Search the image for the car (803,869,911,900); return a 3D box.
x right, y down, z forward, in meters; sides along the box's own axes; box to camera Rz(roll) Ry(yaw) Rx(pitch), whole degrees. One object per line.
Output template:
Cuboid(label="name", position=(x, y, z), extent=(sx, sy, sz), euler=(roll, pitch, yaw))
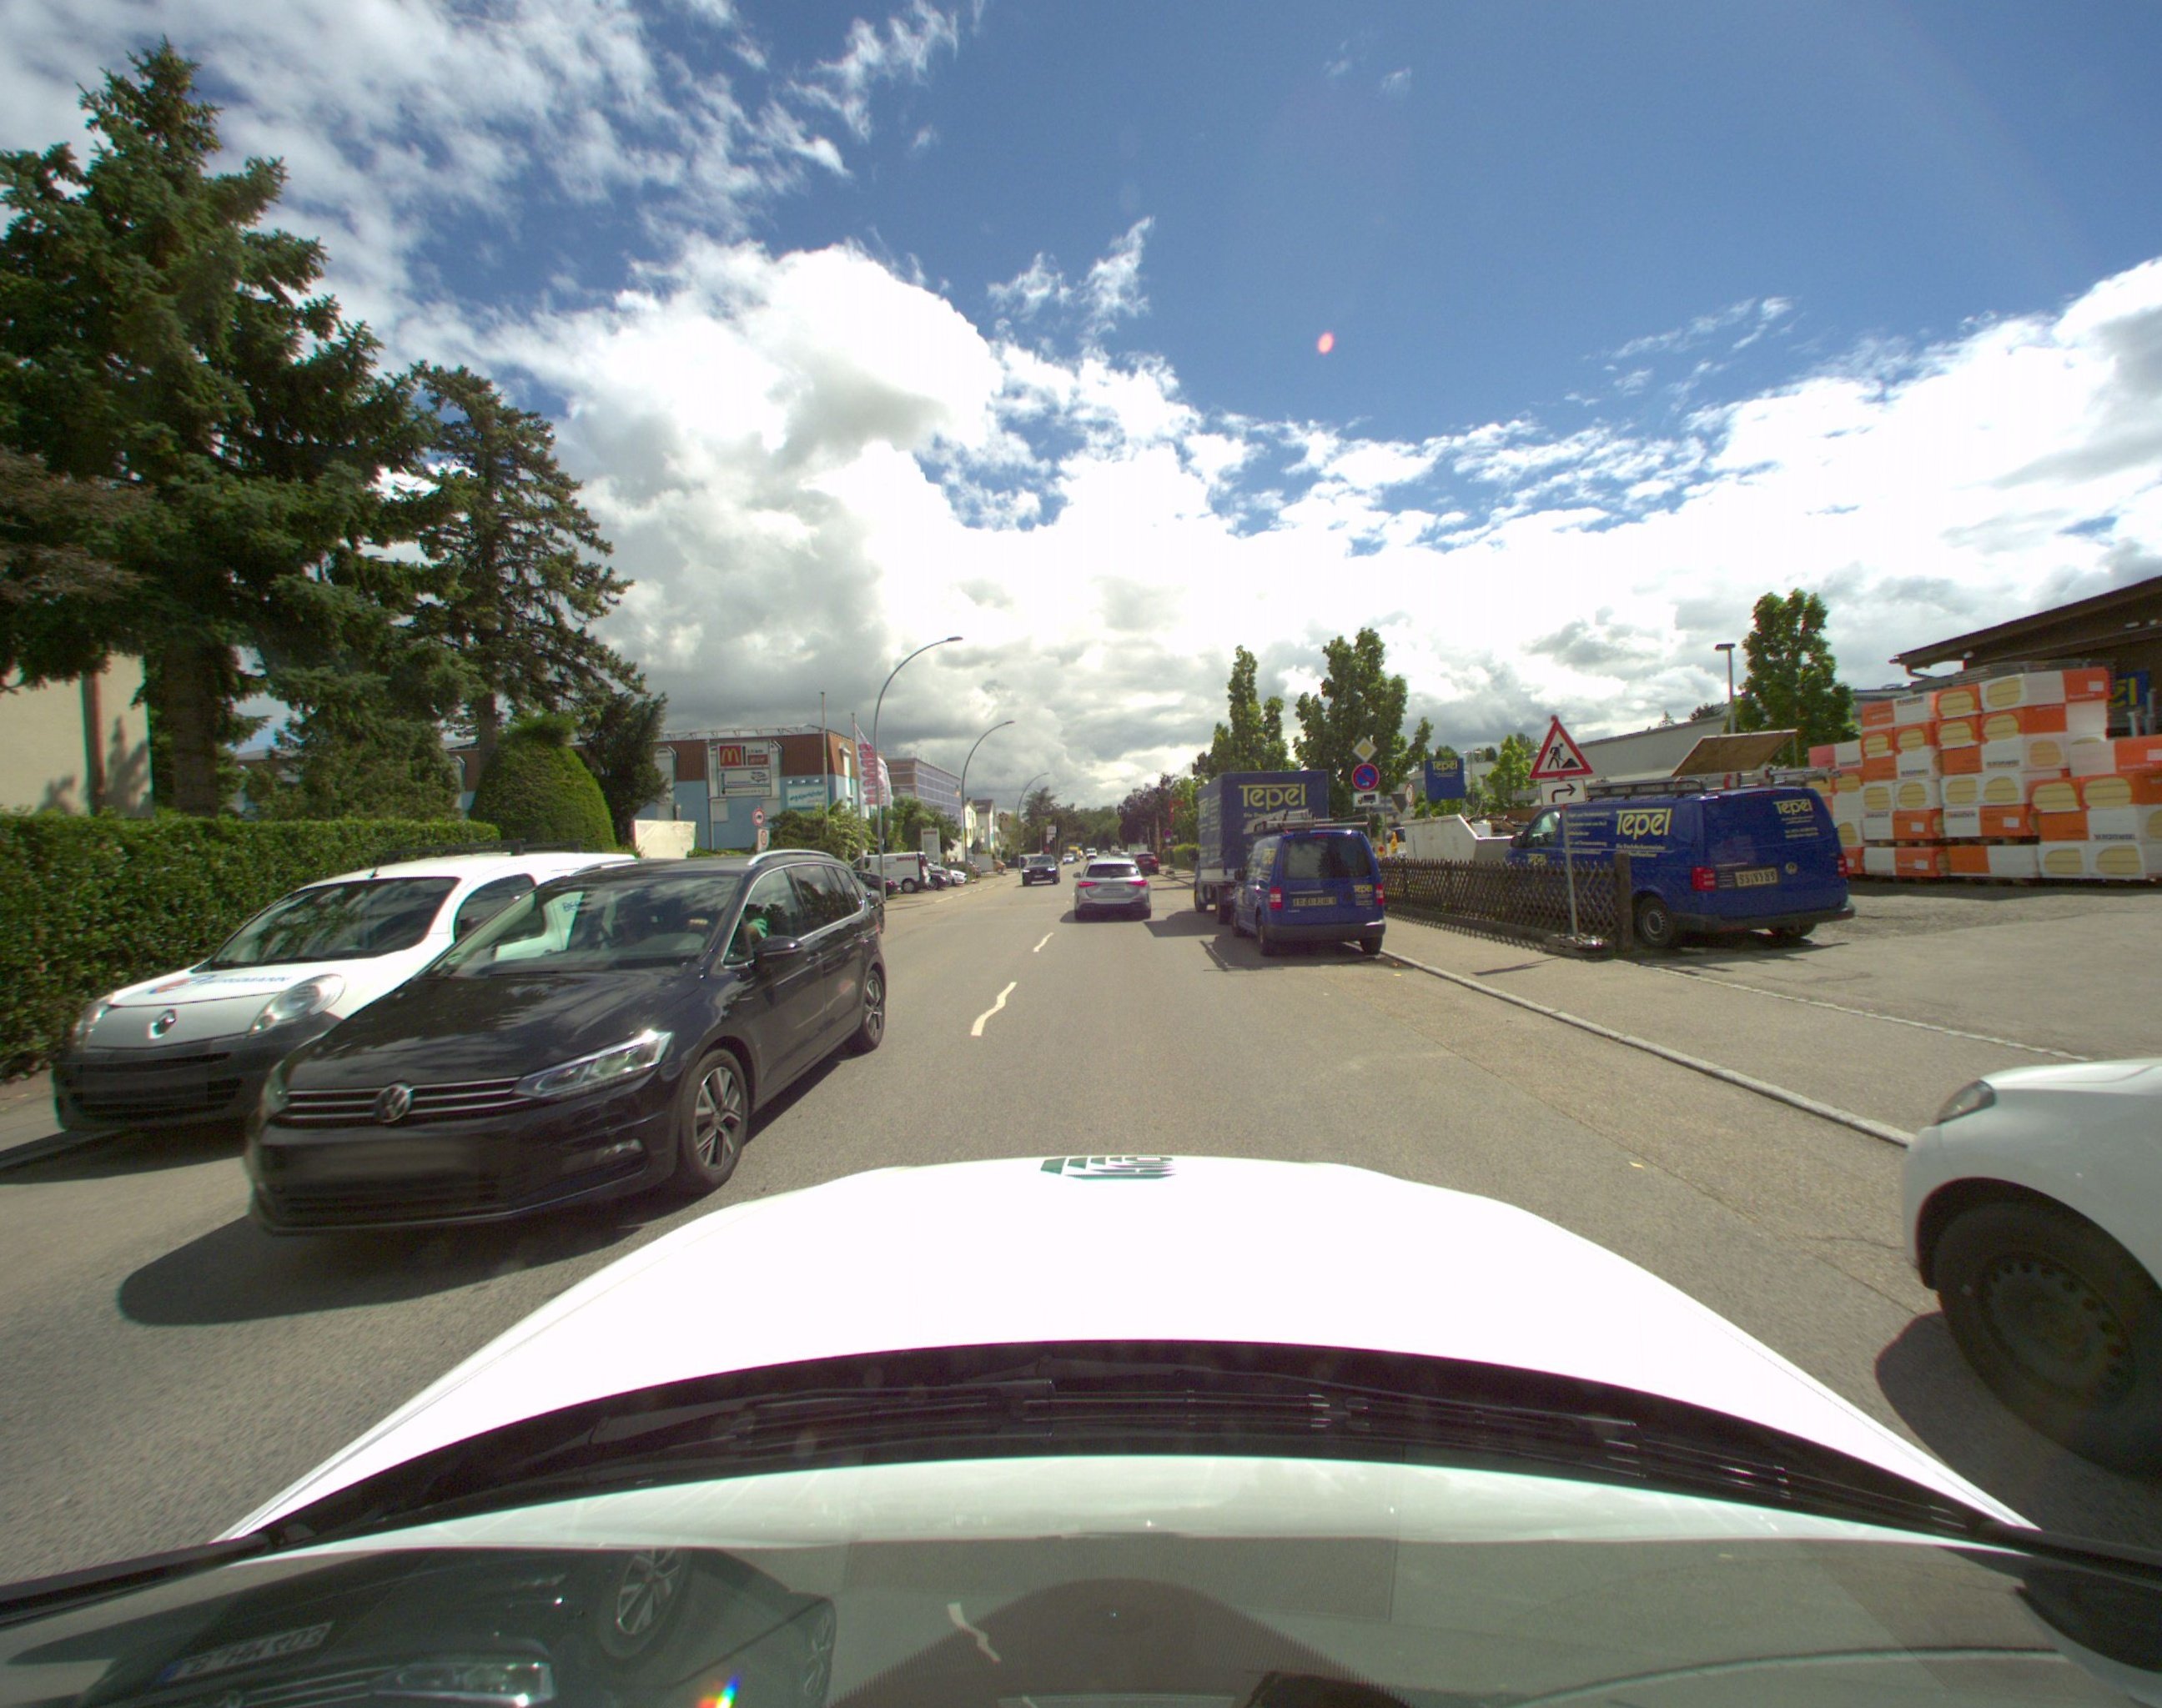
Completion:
Cuboid(label="car", position=(-9.293, 1.262, 34.058), extent=(3.974, 1.204, 1.871), euler=(0, 0, 0))

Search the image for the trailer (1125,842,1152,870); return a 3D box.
Cuboid(label="trailer", position=(4.977, 0.172, 70.436), extent=(1.935, 2.294, 4.445), euler=(-3, 0, 0))

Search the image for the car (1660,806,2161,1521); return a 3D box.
Cuboid(label="car", position=(3.154, 0.638, 1.198), extent=(1.767, 1.508, 4.001), euler=(-3, 0, 1))

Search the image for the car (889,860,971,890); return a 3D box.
Cuboid(label="car", position=(-8.768, 1.228, 47.524), extent=(4.358, 1.478, 1.872), euler=(-3, -1, 1))

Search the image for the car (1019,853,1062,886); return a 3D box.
Cuboid(label="car", position=(-2.196, 0.829, 45.249), extent=(1.987, 1.615, 4.412), euler=(-4, 0, 1))

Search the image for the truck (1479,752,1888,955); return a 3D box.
Cuboid(label="truck", position=(8.017, -0.078, 11.745), extent=(1.823, 2.081, 5.386), euler=(-6, 2, 1))

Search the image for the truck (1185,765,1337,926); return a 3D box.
Cuboid(label="truck", position=(3.876, -0.182, 18.799), extent=(2.312, 3.097, 6.045), euler=(-1, 0, 2))

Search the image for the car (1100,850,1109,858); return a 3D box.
Cuboid(label="car", position=(4.871, -0.083, 169.265), extent=(1.749, 1.558, 4.001), euler=(-2, 0, 1))

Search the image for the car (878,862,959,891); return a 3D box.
Cuboid(label="car", position=(-8.870, 1.227, 44.680), extent=(3.969, 1.355, 1.873), euler=(-3, 0, 3))

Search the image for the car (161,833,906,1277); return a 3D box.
Cuboid(label="car", position=(-2.544, 0.744, 5.262), extent=(1.737, 1.627, 4.357), euler=(-2, 0, 1))

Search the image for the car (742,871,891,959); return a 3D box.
Cuboid(label="car", position=(-5.248, 1.144, 16.721), extent=(1.626, 1.303, 4.115), euler=(-6, 0, -1))

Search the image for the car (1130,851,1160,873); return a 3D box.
Cuboid(label="car", position=(4.986, 0.609, 64.177), extent=(1.935, 1.571, 4.444), euler=(-3, 0, 0))

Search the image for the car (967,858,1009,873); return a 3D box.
Cuboid(label="car", position=(-9.507, 1.143, 83.803), extent=(4.139, 1.491, 1.824), euler=(0, 0, -2))

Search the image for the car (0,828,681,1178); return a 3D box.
Cuboid(label="car", position=(-5.400, 0.834, 6.842), extent=(1.738, 1.838, 4.355), euler=(-6, 0, 0))

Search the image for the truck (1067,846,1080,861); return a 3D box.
Cuboid(label="truck", position=(-1.461, -0.135, 163.752), extent=(2.066, 2.814, 7.083), euler=(-4, 0, 3))

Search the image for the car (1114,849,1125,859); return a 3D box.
Cuboid(label="car", position=(7.814, 0.009, 165.163), extent=(2.136, 1.984, 5.264), euler=(-3, 0, 2))

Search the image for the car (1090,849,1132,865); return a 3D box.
Cuboid(label="car", position=(3.093, 0.291, 83.185), extent=(3.961, 1.596, 2.006), euler=(0, 0, 11))

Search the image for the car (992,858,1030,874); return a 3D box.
Cuboid(label="car", position=(-9.173, 1.519, 107.116), extent=(4.615, 1.632, 2.196), euler=(-6, 0, -2))

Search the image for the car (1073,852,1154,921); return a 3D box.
Cuboid(label="car", position=(0.727, 0.728, 20.516), extent=(1.779, 1.484, 4.316), euler=(-1, 0, 0))

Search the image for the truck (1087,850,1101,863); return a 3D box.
Cuboid(label="truck", position=(2.523, 0.424, 156.998), extent=(2.309, 2.178, 6.455), euler=(-4, 0, 4))

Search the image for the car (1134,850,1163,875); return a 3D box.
Cuboid(label="car", position=(4.863, 0.588, 59.196), extent=(1.933, 1.571, 4.450), euler=(-3, 0, 4))

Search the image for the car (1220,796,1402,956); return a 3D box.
Cuboid(label="car", position=(3.533, 0.289, 13.399), extent=(1.866, 2.169, 4.466), euler=(-1, 0, 2))

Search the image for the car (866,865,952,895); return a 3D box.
Cuboid(label="car", position=(-8.917, 1.346, 42.460), extent=(3.974, 1.315, 1.871), euler=(-3, -1, 0))

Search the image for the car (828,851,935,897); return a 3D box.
Cuboid(label="car", position=(-9.693, 0.956, 39.866), extent=(4.639, 1.972, 2.114), euler=(-3, 0, -2))

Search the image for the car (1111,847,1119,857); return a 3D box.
Cuboid(label="car", position=(8.348, -0.456, 202.536), extent=(1.779, 2.518, 4.315), euler=(-1, -1, 0))

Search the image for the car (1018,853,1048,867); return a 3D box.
Cuboid(label="car", position=(-7.322, 0.956, 124.724), extent=(4.265, 1.836, 1.991), euler=(-3, -3, 0))

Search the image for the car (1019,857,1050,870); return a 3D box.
Cuboid(label="car", position=(-6.803, 1.346, 119.063), extent=(4.263, 1.567, 1.992), euler=(-3, -3, 1))

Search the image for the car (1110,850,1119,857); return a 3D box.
Cuboid(label="car", position=(7.776, -0.092, 190.558), extent=(1.779, 1.715, 4.315), euler=(-1, 0, 0))

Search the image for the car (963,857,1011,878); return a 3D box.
Cuboid(label="car", position=(-7.708, 1.101, 67.103), extent=(3.612, 1.532, 1.981), euler=(-2, 0, 3))

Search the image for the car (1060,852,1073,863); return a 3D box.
Cuboid(label="car", position=(-2.252, 0.546, 129.884), extent=(1.785, 1.603, 4.365), euler=(-4, 0, 1))
